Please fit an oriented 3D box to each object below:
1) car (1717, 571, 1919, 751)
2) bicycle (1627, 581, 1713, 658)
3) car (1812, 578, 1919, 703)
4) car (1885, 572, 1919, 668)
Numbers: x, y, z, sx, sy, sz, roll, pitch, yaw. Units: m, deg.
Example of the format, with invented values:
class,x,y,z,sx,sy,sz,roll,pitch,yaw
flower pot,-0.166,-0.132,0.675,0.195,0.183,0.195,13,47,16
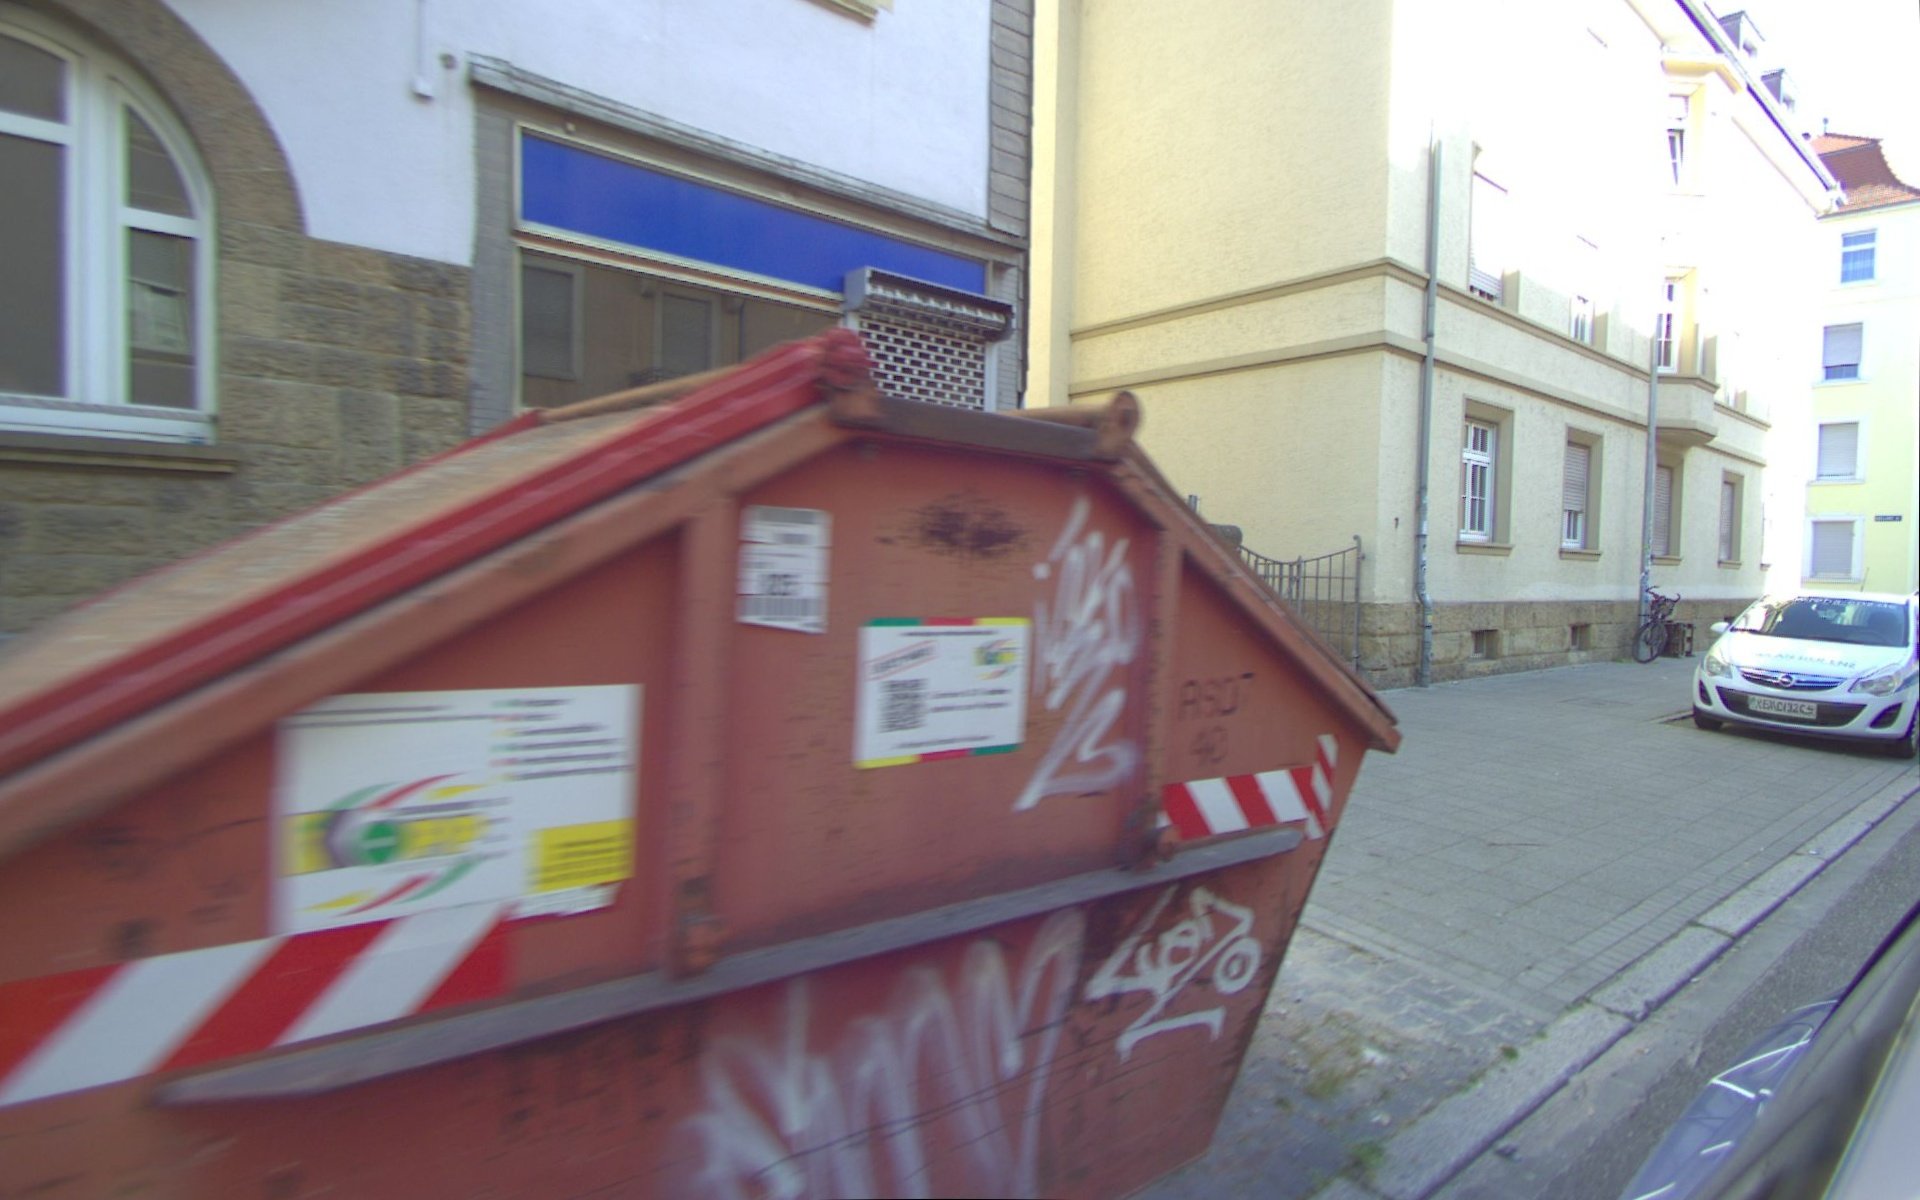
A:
class,x,y,z,sx,sy,sz,roll,pitch,yaw
car,9.076,0.495,10.168,3.647,1.482,1.589,0,3,-41
bicycle,12.034,0.304,17.121,1.924,1.215,0.830,0,2,-45
car,13.052,0.491,13.669,4.021,1.482,1.657,0,3,-40
car,17.617,0.363,17.508,3.842,1.565,1.685,0,3,-38
